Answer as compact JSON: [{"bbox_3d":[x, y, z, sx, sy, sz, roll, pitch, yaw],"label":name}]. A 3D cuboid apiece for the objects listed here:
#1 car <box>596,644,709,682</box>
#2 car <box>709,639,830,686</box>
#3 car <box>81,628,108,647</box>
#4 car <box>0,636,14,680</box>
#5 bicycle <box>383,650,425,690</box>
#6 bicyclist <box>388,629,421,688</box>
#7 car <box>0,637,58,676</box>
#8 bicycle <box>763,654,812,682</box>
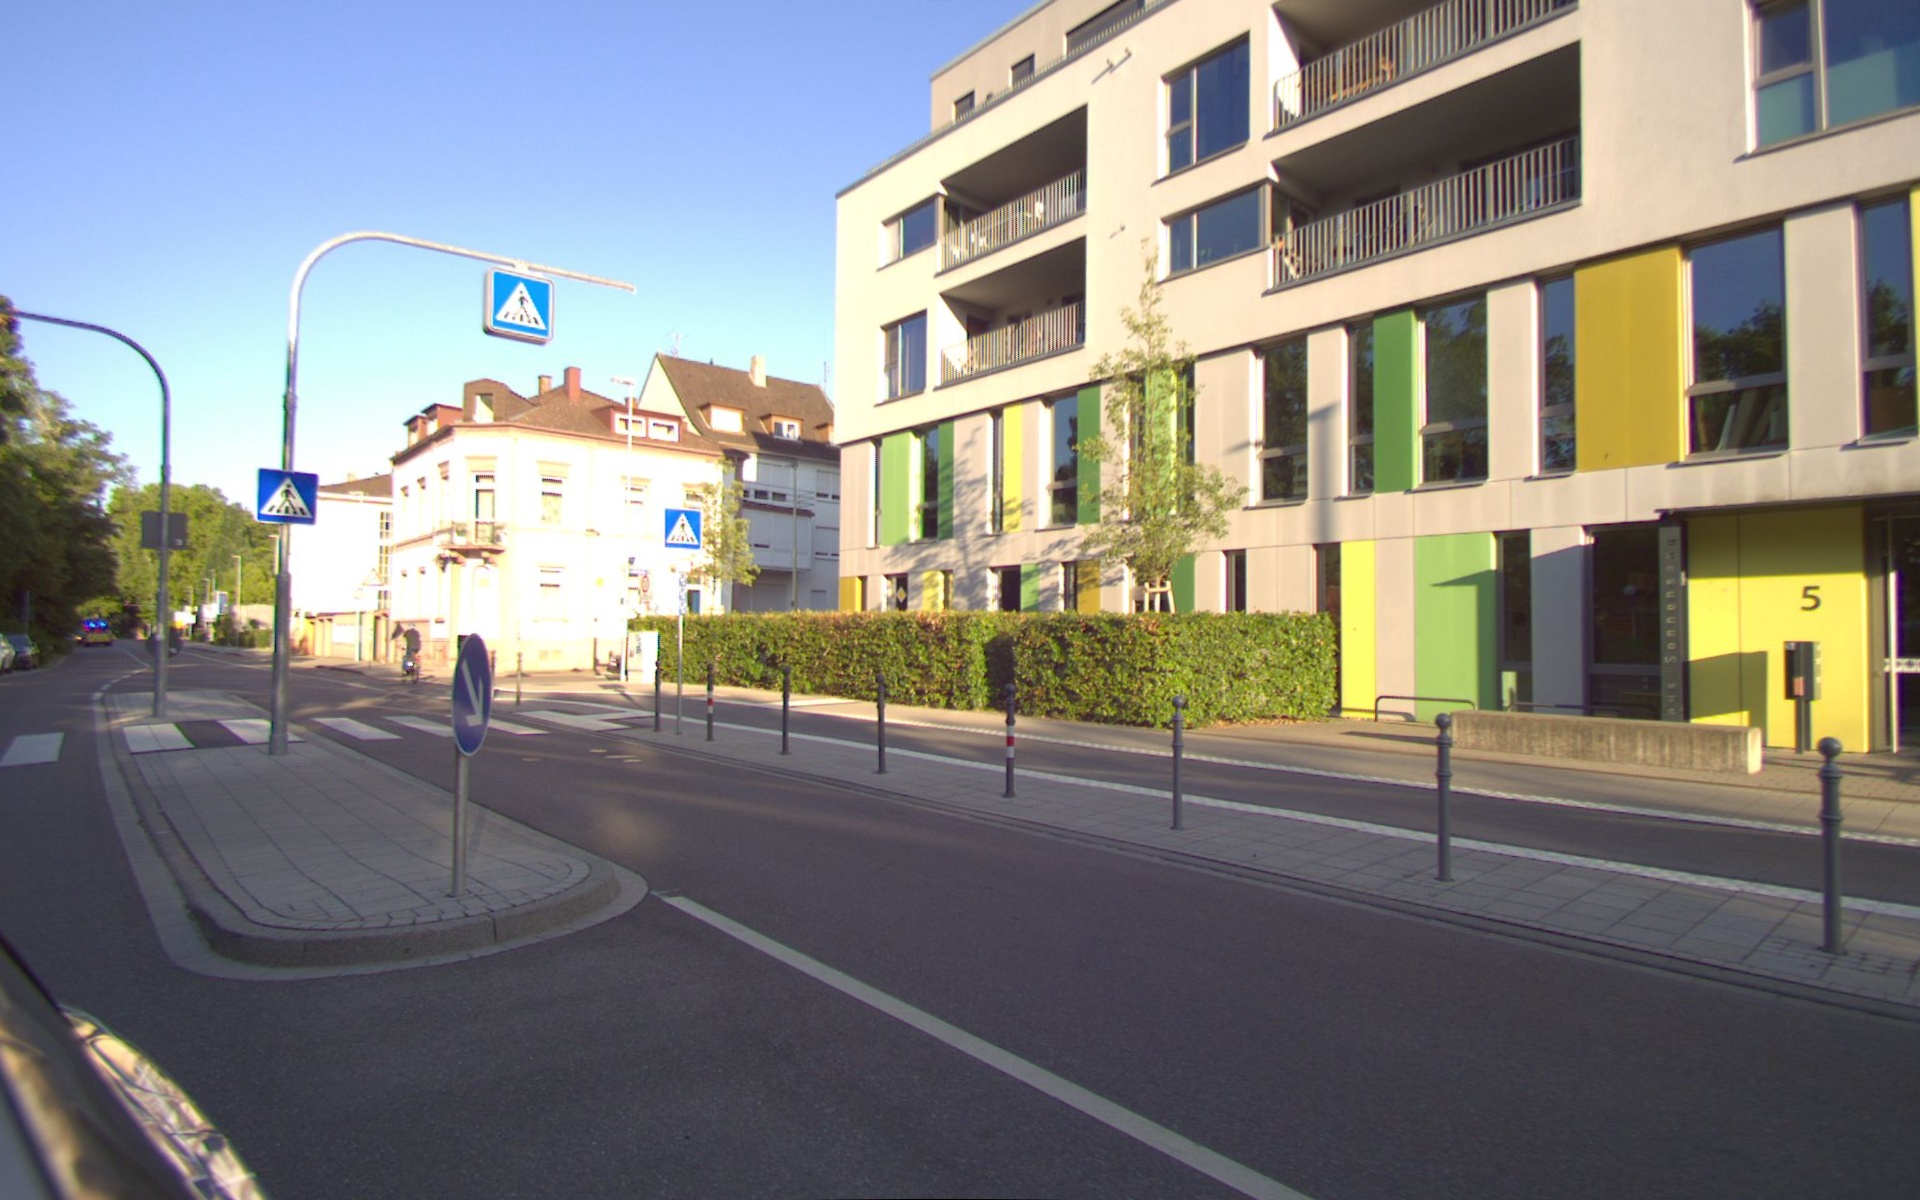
[{"bbox_3d":[-12.196,2.462,40.291,3.859,1.449,1.906,2,-3,-43],"label":"car"},{"bbox_3d":[-6.888,2.235,36.763,3.856,1.449,1.822,2,2,-40],"label":"car"},{"bbox_3d":[-96.520,4.210,112.907,2.195,2.029,4.898,2,-3,-40],"label":"car"},{"bbox_3d":[-34.257,1.984,35.022,1.725,1.498,4.185,4,-5,-37],"label":"car"},{"bbox_3d":[-15.862,1.965,28.841,0.626,1.086,1.886,3,-3,-41],"label":"bicycle"},{"bbox_3d":[-15.773,1.658,28.744,0.619,1.657,0.759,3,-3,-41],"label":"bicyclist"},{"bbox_3d":[-37.678,2.244,40.748,1.725,1.498,4.517,2,-3,-39],"label":"car"},{"bbox_3d":[-5.798,2.266,34.014,1.578,0.899,0.513,3,-4,-42],"label":"bicycle"}]
